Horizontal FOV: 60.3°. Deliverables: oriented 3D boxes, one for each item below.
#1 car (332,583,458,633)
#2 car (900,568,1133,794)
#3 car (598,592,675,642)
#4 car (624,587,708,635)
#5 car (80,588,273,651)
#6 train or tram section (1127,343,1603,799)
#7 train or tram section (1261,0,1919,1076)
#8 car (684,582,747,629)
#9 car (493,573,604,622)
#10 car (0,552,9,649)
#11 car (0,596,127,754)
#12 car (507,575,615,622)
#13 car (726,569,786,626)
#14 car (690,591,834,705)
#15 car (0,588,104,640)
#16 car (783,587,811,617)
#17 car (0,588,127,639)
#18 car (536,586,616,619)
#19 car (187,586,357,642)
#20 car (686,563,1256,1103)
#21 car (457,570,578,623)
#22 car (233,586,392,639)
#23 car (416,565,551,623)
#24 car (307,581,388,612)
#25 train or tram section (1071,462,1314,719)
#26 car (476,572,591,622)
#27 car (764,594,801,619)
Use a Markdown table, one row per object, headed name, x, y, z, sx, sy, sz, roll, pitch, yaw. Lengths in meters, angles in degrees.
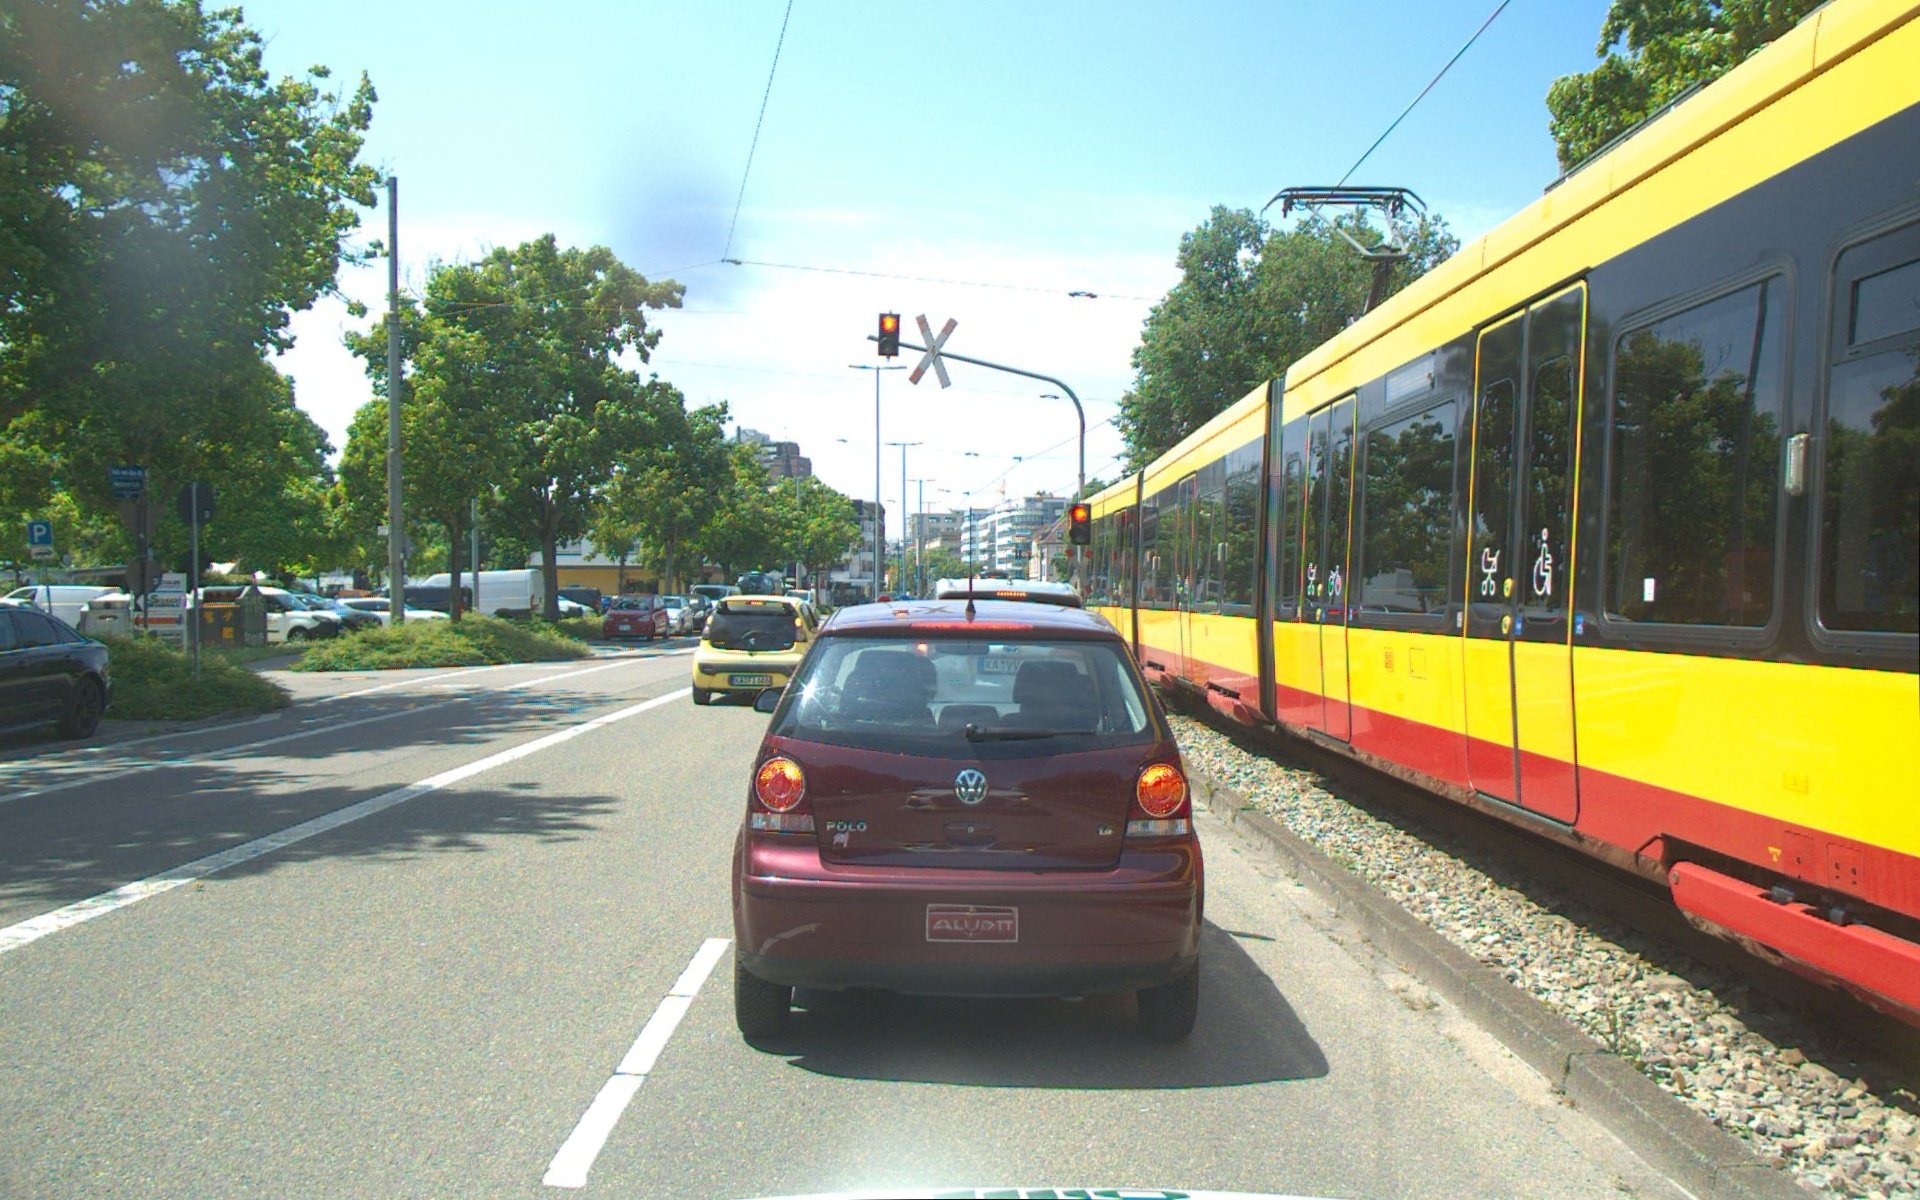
| name | x | y | z | sx | sy | sz | roll | pitch | yaw |
| --- | --- | --- | --- | --- | --- | --- | --- | --- | --- |
| car | -20.517 | 0.275 | 60.186 | 3.906 | 1.776 | 1.998 | -1 | 0 | -2 |
| car | 0.382 | 0.607 | 14.642 | 1.741 | 1.676 | 3.999 | 2 | 0 | -2 |
| car | -10.549 | 0.558 | 54.235 | 1.628 | 1.523 | 4.000 | 2 | -1 | 1 |
| car | -10.743 | 0.400 | 60.782 | 1.934 | 1.629 | 4.560 | 2 | -1 | 4 |
| car | -20.939 | 0.500 | 44.337 | 4.256 | 1.612 | 1.912 | -1 | 0 | -3 |
| train or tram section | 3.894 | -0.275 | 19.131 | 2.685 | 3.672 | 10.949 | 2 | 0 | 0 |
| train or tram section | 3.945 | -0.545 | 7.471 | 2.685 | 3.672 | 12.869 | 2 | 0 | 0 |
| car | -10.455 | 0.261 | 71.026 | 1.746 | 1.914 | 4.787 | 2 | -1 | 2 |
| car | -20.969 | -0.107 | 84.422 | 4.993 | 2.283 | 2.378 | 2 | -1 | 0 |
| car | -33.110 | -0.108 | 50.397 | 6.714 | 3.017 | 2.363 | 2 | -1 | -2 |
| car | -10.309 | 0.735 | 16.488 | 1.782 | 1.502 | 4.448 | 2 | 0 | -1 |
| car | -20.957 | -0.083 | 87.058 | 4.993 | 2.283 | 2.378 | 2 | -1 | 0 |
| car | -10.312 | -0.111 | 84.073 | 2.313 | 2.739 | 5.307 | 2 | -1 | 0 |
| car | -2.704 | 0.616 | 23.260 | 1.656 | 1.435 | 3.514 | 2 | 0 | -2 |
| car | -32.464 | 0.477 | 57.960 | 3.913 | 1.682 | 1.812 | 2 | -1 | -9 |
| car | -10.596 | 0.166 | 107.349 | 1.741 | 1.860 | 3.995 | 2 | -1 | -6 |
| car | -32.840 | 0.486 | 60.363 | 3.913 | 1.682 | 1.812 | 2 | -1 | -9 |
| car | -21.200 | 0.156 | 91.417 | 3.938 | 1.645 | 1.816 | 2 | -1 | 0 |
| car | -20.460 | 0.406 | 49.300 | 4.251 | 1.612 | 1.914 | 0 | 0 | 5 |
| car | -0.013 | 0.682 | 6.892 | 1.639 | 1.548 | 3.999 | 2 | 0 | -2 |
| car | -21.022 | -0.160 | 78.760 | 4.993 | 2.283 | 2.378 | 2 | -1 | 0 |
| car | -20.375 | 0.386 | 52.155 | 4.251 | 1.612 | 1.914 | 0 | 0 | 5 |
| car | -20.295 | -0.235 | 70.631 | 4.993 | 2.283 | 2.378 | 2 | -1 | 0 |
| car | -35.331 | -0.202 | 95.444 | 3.939 | 1.645 | 1.816 | 2 | -1 | -2 |
| train or tram section | 3.775 | -0.183 | 29.701 | 2.685 | 3.672 | 10.949 | 2 | 0 | 0 |
| car | -21.076 | -0.133 | 81.946 | 4.993 | 2.283 | 2.378 | 2 | -1 | 0 |
| car | -10.840 | 0.420 | 101.196 | 1.581 | 1.466 | 4.001 | 2 | -1 | 3 |
